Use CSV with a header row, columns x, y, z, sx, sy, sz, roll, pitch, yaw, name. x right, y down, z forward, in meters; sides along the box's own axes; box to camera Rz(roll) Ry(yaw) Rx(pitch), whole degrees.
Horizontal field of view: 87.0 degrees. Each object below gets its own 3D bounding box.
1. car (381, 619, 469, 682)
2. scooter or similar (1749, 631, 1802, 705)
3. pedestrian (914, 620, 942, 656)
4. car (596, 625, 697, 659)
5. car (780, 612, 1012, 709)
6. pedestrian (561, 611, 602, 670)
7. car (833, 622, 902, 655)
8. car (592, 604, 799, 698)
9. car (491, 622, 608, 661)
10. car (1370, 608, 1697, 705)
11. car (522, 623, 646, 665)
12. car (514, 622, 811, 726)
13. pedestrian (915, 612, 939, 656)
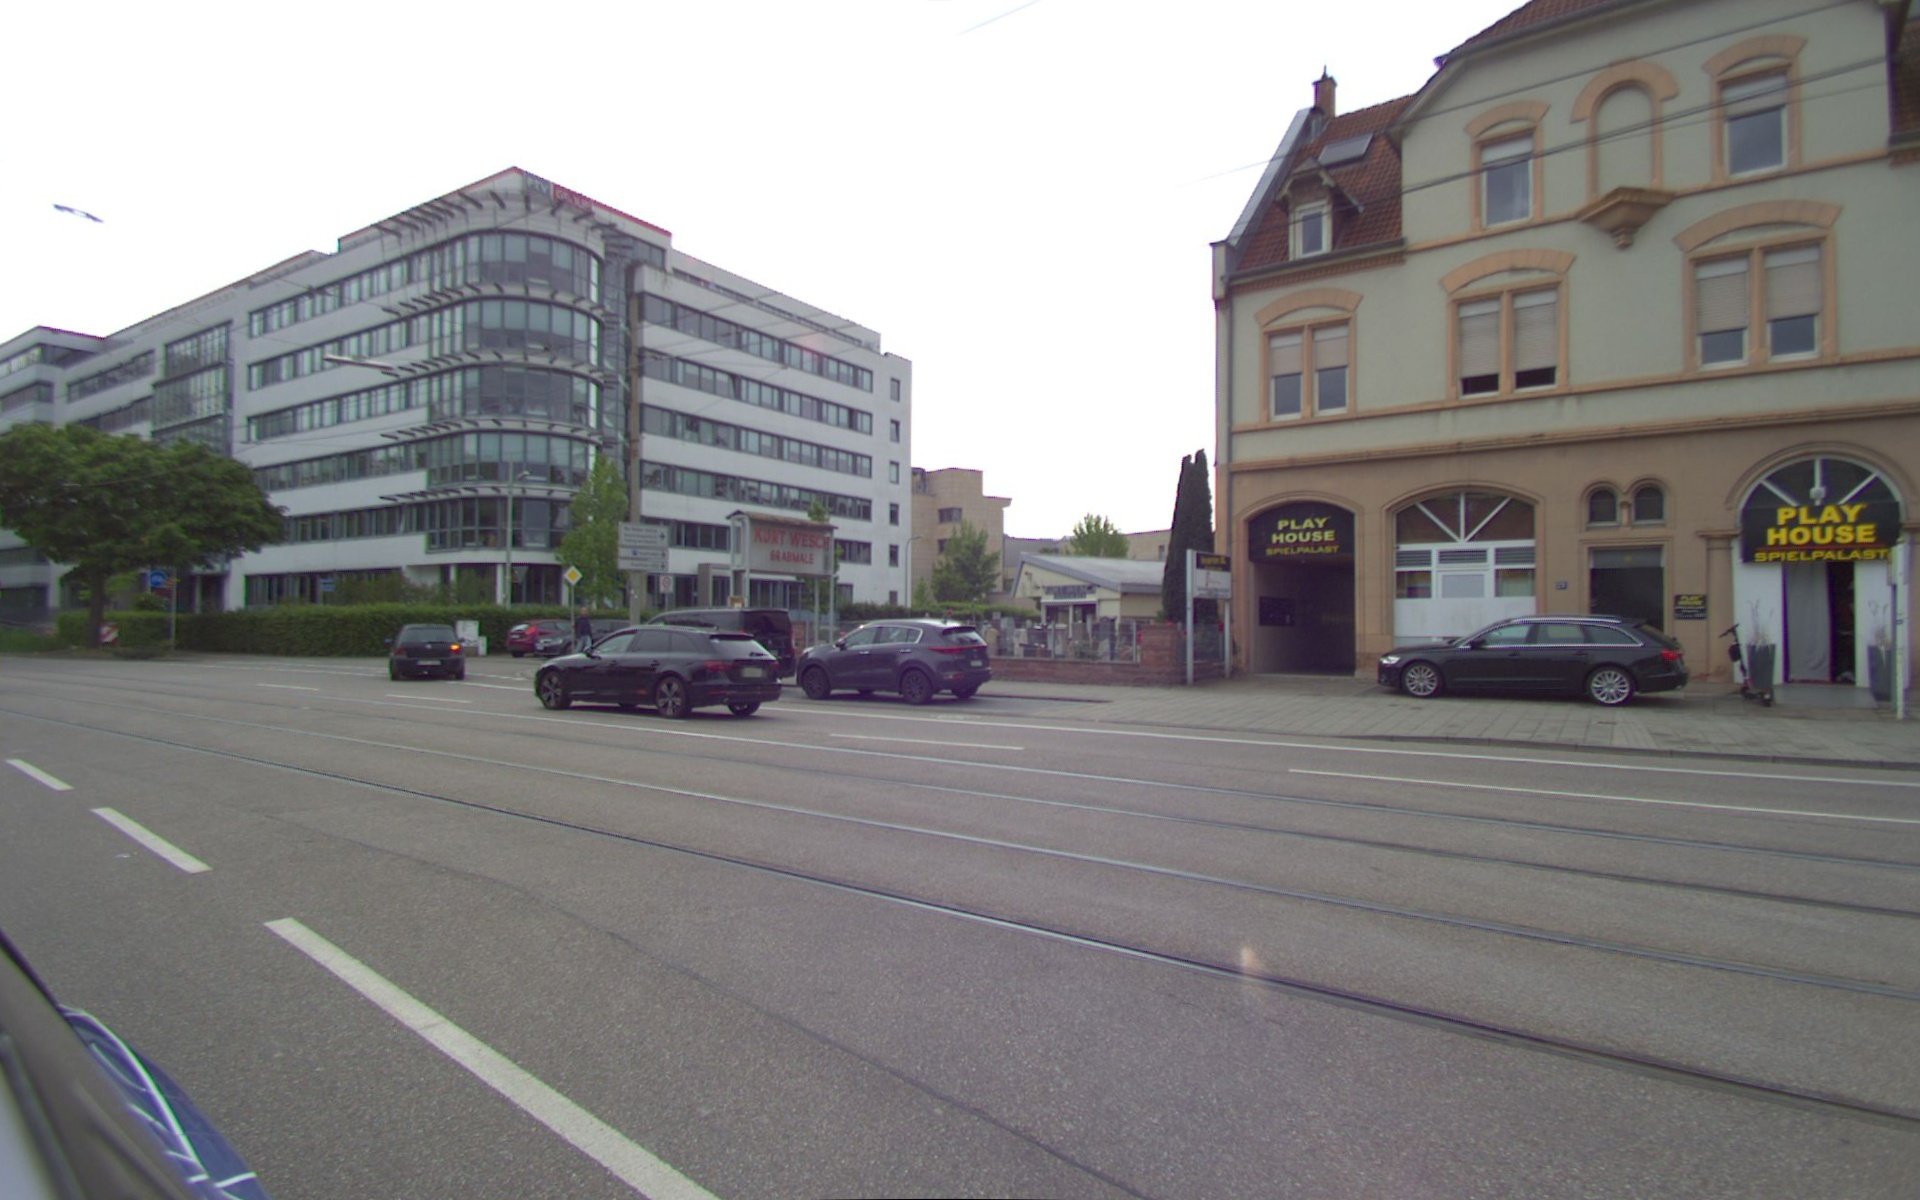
x,y,z,sx,sy,sz,roll,pitch,yaw,name
-14.275,1.329,26.910,1.765,1.542,4.153,3,-3,-31,car
13.265,1.085,16.488,0.526,1.110,1.165,-1,1,32,scooter or similar
-1.831,2.158,58.177,1.180,2.029,1.207,0,-2,21,pedestrian
-13.403,1.753,43.455,1.774,1.359,4.004,-1,-1,32,car
-1.388,1.195,21.076,4.523,1.762,2.020,-2,0,34,car
-11.913,1.253,31.864,1.058,1.839,0.796,-1,-1,38,pedestrian
-5.134,2.116,56.402,1.884,1.694,3.793,-1,-1,34,car
-6.424,1.134,24.312,5.173,2.029,1.969,-1,0,36,car
-15.991,1.611,39.616,1.721,1.433,3.973,-3,-3,34,car
10.159,0.915,18.133,4.893,1.504,1.976,-1,0,36,car
-13.893,1.597,37.522,1.817,1.462,3.930,-1,-2,43,car
-4.941,1.135,16.633,4.801,1.484,1.891,0,-3,30,car
-1.370,1.391,41.756,0.761,1.787,0.628,-1,-1,40,pedestrian
